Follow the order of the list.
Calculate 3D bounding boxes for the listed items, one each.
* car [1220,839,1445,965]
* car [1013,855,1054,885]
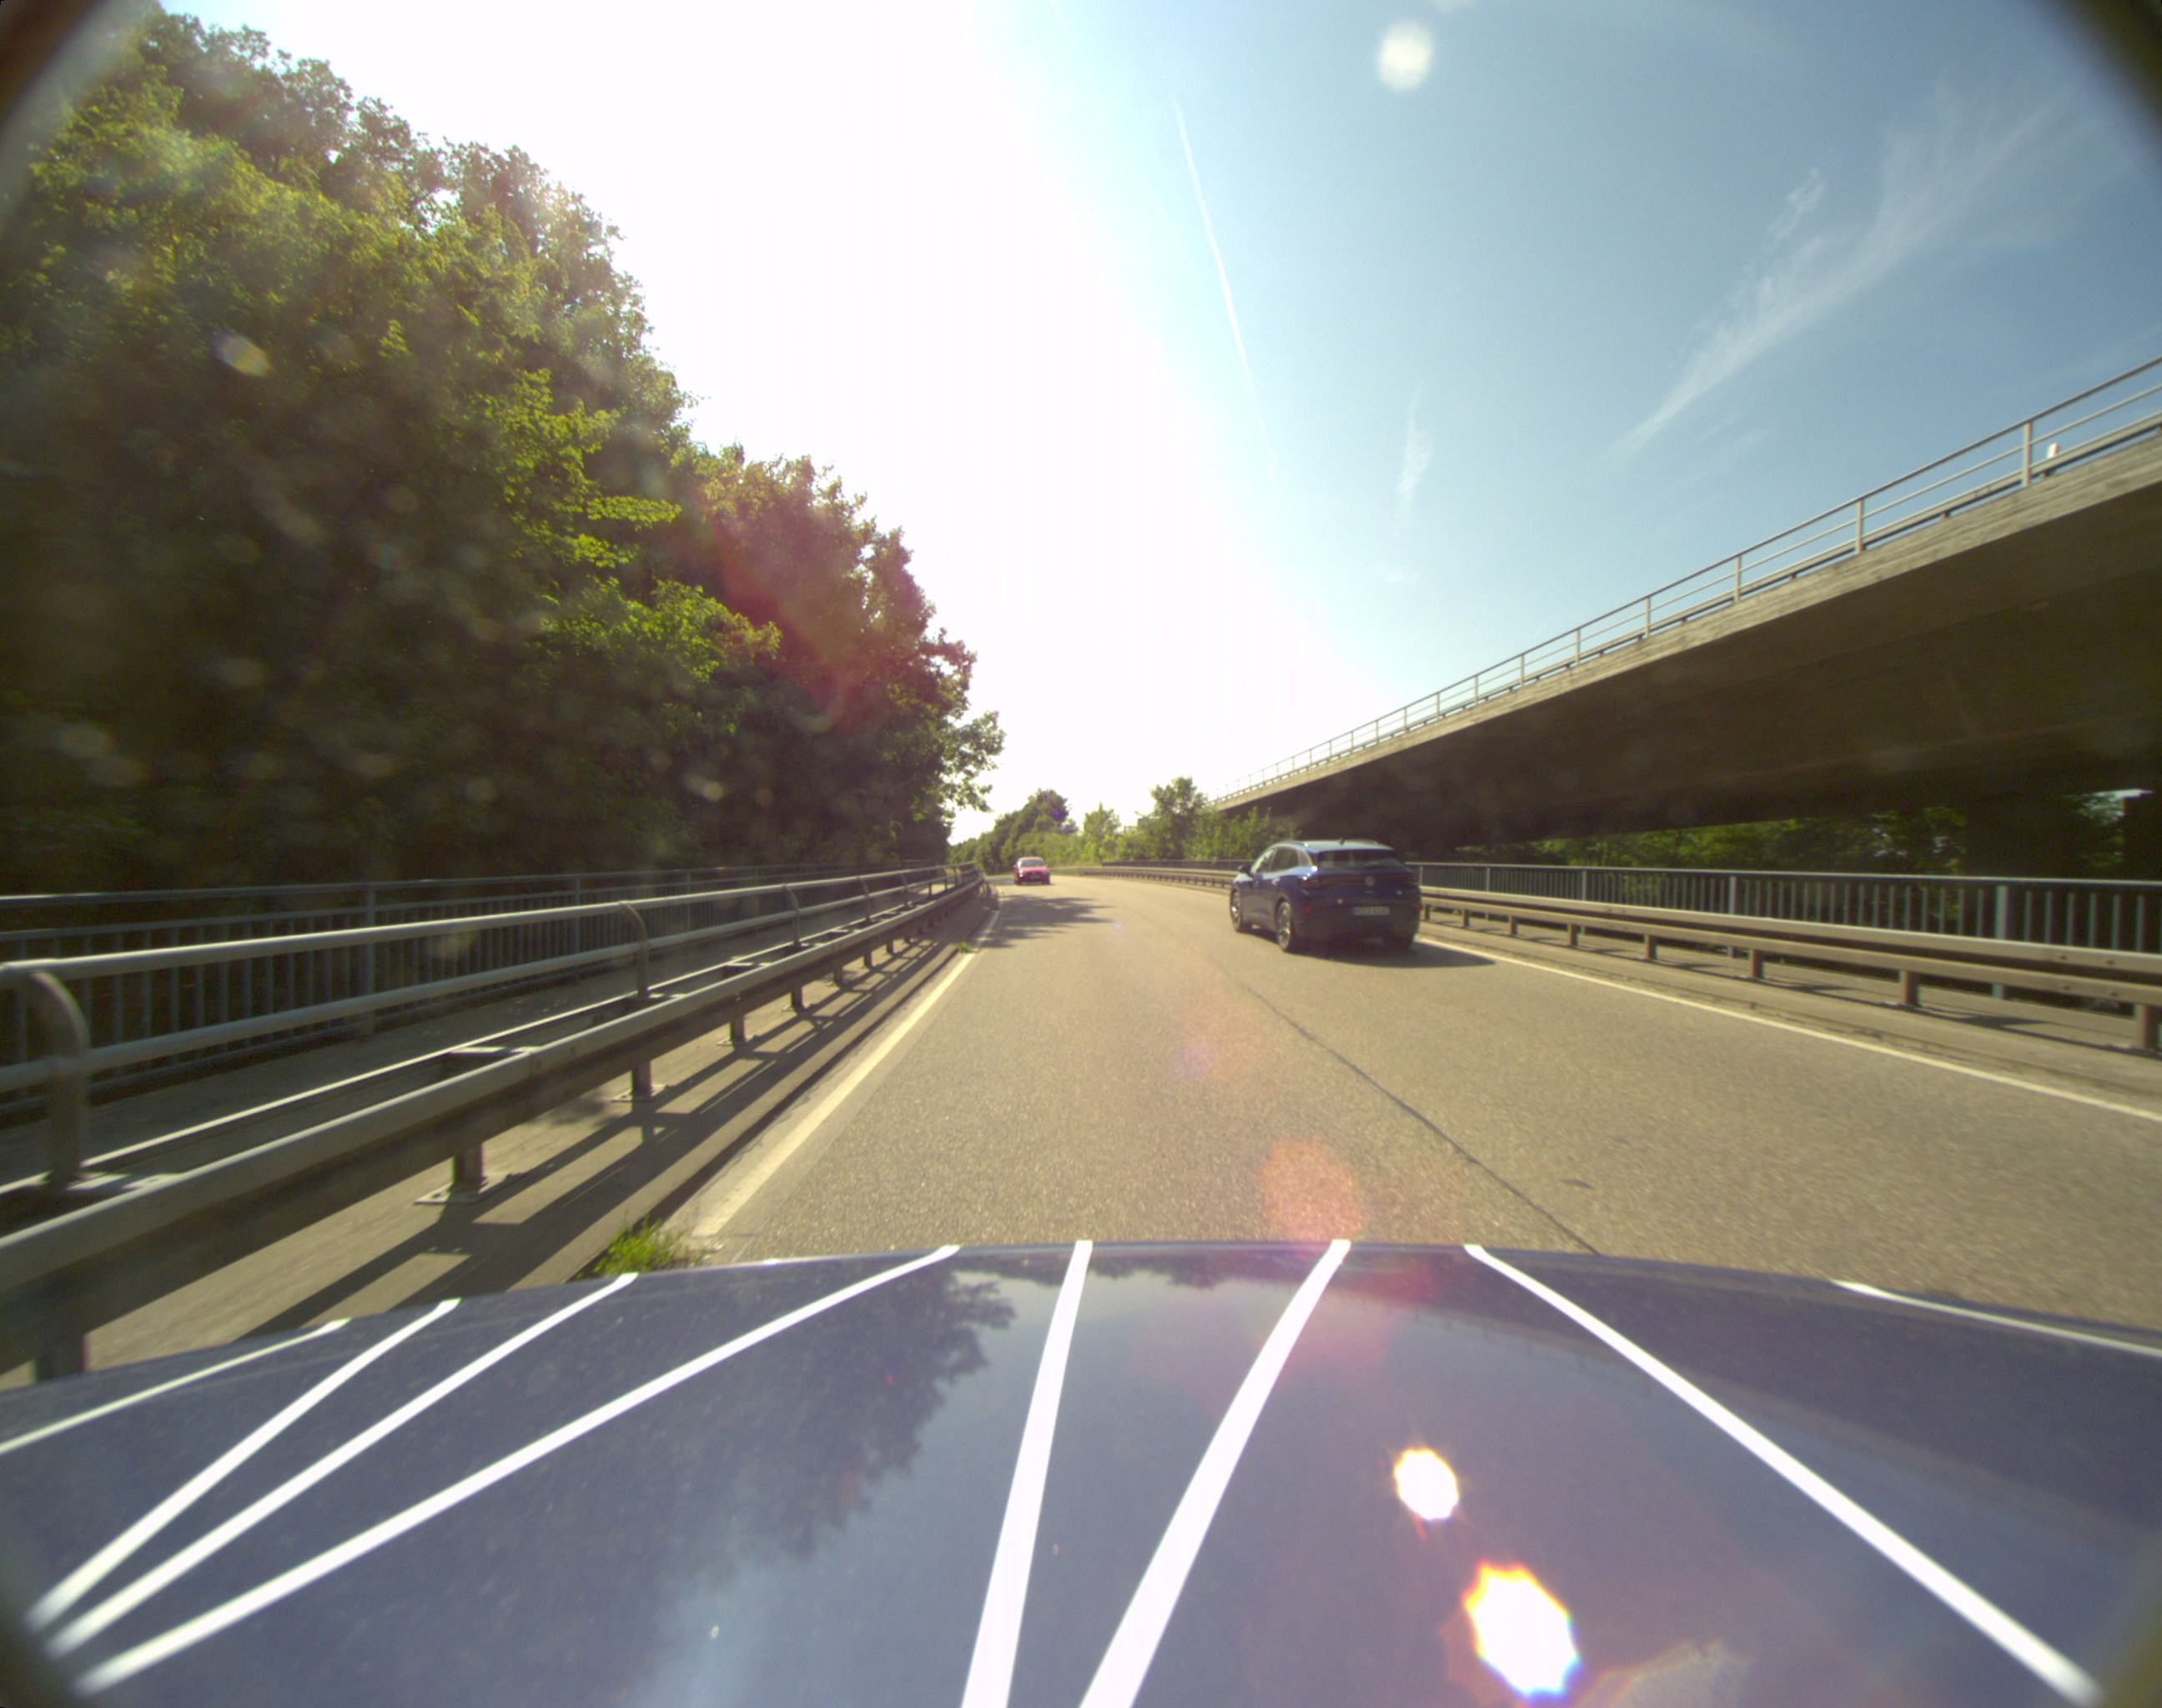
[{"bbox_3d":[3.667,0.591,12.079,1.903,1.571,4.553,-2,1,-2],"label":"car"},{"bbox_3d":[-2.658,0.836,41.593,1.818,1.488,4.282,-1,0,-9],"label":"car"}]
